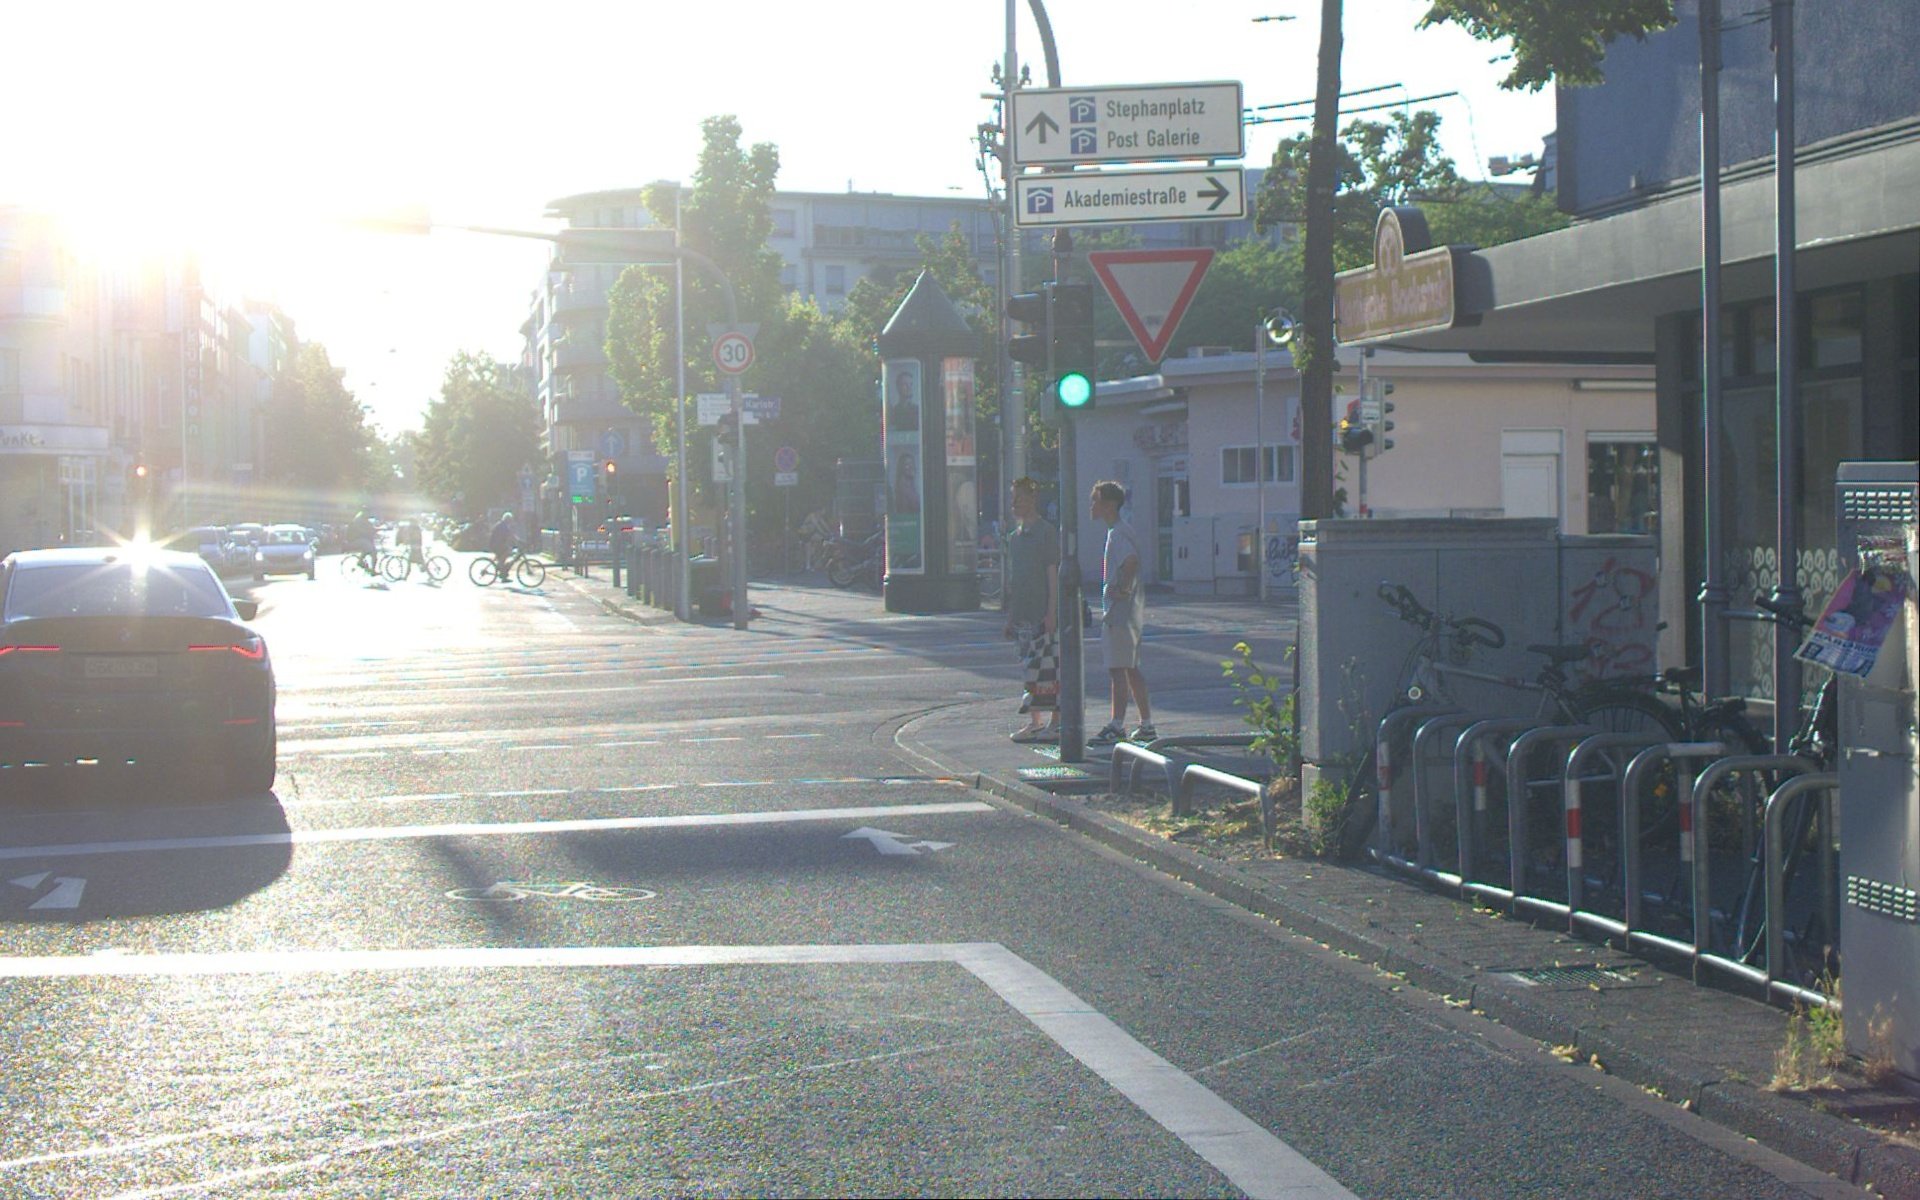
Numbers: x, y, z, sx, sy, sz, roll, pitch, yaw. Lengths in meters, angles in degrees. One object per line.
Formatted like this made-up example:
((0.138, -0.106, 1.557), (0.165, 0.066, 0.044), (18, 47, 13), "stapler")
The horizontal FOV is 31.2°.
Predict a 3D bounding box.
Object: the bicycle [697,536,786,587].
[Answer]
((-5.348, -0.942, 84.219), (2.118, 1.200, 0.500), (1, 0, 3), "bicycle")

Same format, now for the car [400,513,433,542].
((-35.654, -4.752, 225.580), (1.993, 1.809, 4.001), (1, 1, -7), "car")

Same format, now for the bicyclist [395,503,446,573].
((-14.032, -1.615, 89.422), (1.129, 1.784, 0.765), (1, 0, 5), "bicyclist")

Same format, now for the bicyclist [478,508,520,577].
((-11.264, -1.405, 83.968), (0.851, 1.653, 0.676), (1, 0, 8), "bicyclist")

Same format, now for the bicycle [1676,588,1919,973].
((3.213, 0.562, 11.357), (1.656, 1.190, 0.494), (-1, 2, -21), "bicycle")

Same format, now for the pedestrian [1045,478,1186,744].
((1.056, 0.059, 23.382), (0.637, 1.767, 0.749), (-2, 2, -29), "pedestrian")

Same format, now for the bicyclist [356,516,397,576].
((-14.691, -1.356, 86.543), (0.899, 1.476, 0.735), (1, 0, 0), "bicyclist")

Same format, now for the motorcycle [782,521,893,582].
((-2.520, -0.996, 70.507), (2.234, 1.197, 0.720), (-1, 2, -3), "motorcycle")

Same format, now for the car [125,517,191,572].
((-22.512, -1.570, 96.609), (1.544, 1.478, 3.353), (-1, 2, -9), "car")

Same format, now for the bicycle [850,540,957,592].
((-1.099, -0.670, 67.473), (2.077, 0.979, 0.560), (-1, 0, -1), "bicycle")

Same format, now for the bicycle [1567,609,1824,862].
((3.294, 0.581, 15.519), (0.403, 1.007, 1.671), (-3, 2, -14), "bicycle")

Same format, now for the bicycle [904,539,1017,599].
((0.006, -0.552, 61.773), (2.020, 1.041, 0.560), (-1, 0, -1), "bicycle")

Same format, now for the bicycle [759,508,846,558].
((-3.909, -1.660, 85.461), (2.118, 1.200, 0.500), (1, 0, 3), "bicycle")

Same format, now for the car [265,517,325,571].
((-18.670, -1.568, 96.572), (1.544, 1.462, 3.353), (0, 1, -9), "car")

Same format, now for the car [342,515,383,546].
((-33.062, -3.851, 190.339), (1.993, 1.678, 4.001), (-1, 2, -7), "car")

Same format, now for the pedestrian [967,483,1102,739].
((0.525, 0.070, 24.237), (0.585, 1.767, 0.749), (-2, 2, -39), "pedestrian")

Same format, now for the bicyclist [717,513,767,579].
((-5.330, -1.327, 84.217), (1.129, 1.596, 0.702), (1, 0, 3), "bicyclist")

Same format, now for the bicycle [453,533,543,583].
((-11.279, -1.033, 83.978), (2.118, 1.200, 0.500), (1, 0, 8), "bicycle")

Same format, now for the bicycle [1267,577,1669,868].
((2.190, 0.510, 14.831), (1.656, 1.190, 0.477), (-1, 2, -14), "bicycle")

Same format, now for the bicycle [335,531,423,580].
((-14.613, -1.119, 86.516), (2.117, 1.200, 0.500), (1, 0, 0), "bicycle")

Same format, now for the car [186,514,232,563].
((-24.410, -1.998, 111.823), (1.306, 1.577, 2.889), (0, 1, -9), "car")

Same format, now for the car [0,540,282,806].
((-5.264, 0.380, 21.397), (1.890, 1.475, 4.544), (1, 1, -13), "car")

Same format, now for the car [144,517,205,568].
((-22.887, -1.661, 100.237), (1.544, 1.464, 3.353), (0, 1, -9), "car")

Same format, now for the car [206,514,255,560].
((-24.935, -2.135, 117.598), (1.482, 1.554, 3.259), (0, 1, -9), "car")

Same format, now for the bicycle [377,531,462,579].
((-14.067, -1.167, 89.442), (2.118, 1.200, 0.500), (1, 0, 4), "bicycle")

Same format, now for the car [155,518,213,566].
((-23.720, -1.767, 105.148), (1.544, 1.464, 3.353), (0, 1, -9), "car")

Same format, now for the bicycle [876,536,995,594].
((-0.442, -0.639, 62.812), (2.147, 1.040, 0.560), (-1, 0, -1), "bicycle")

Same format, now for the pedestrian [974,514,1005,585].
((0.699, -1.184, 81.185), (0.680, 1.651, 0.696), (1, 0, -1), "pedestrian")

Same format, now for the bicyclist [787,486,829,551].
((-3.777, -2.032, 85.469), (0.960, 1.596, 0.646), (1, 0, 3), "bicyclist")
